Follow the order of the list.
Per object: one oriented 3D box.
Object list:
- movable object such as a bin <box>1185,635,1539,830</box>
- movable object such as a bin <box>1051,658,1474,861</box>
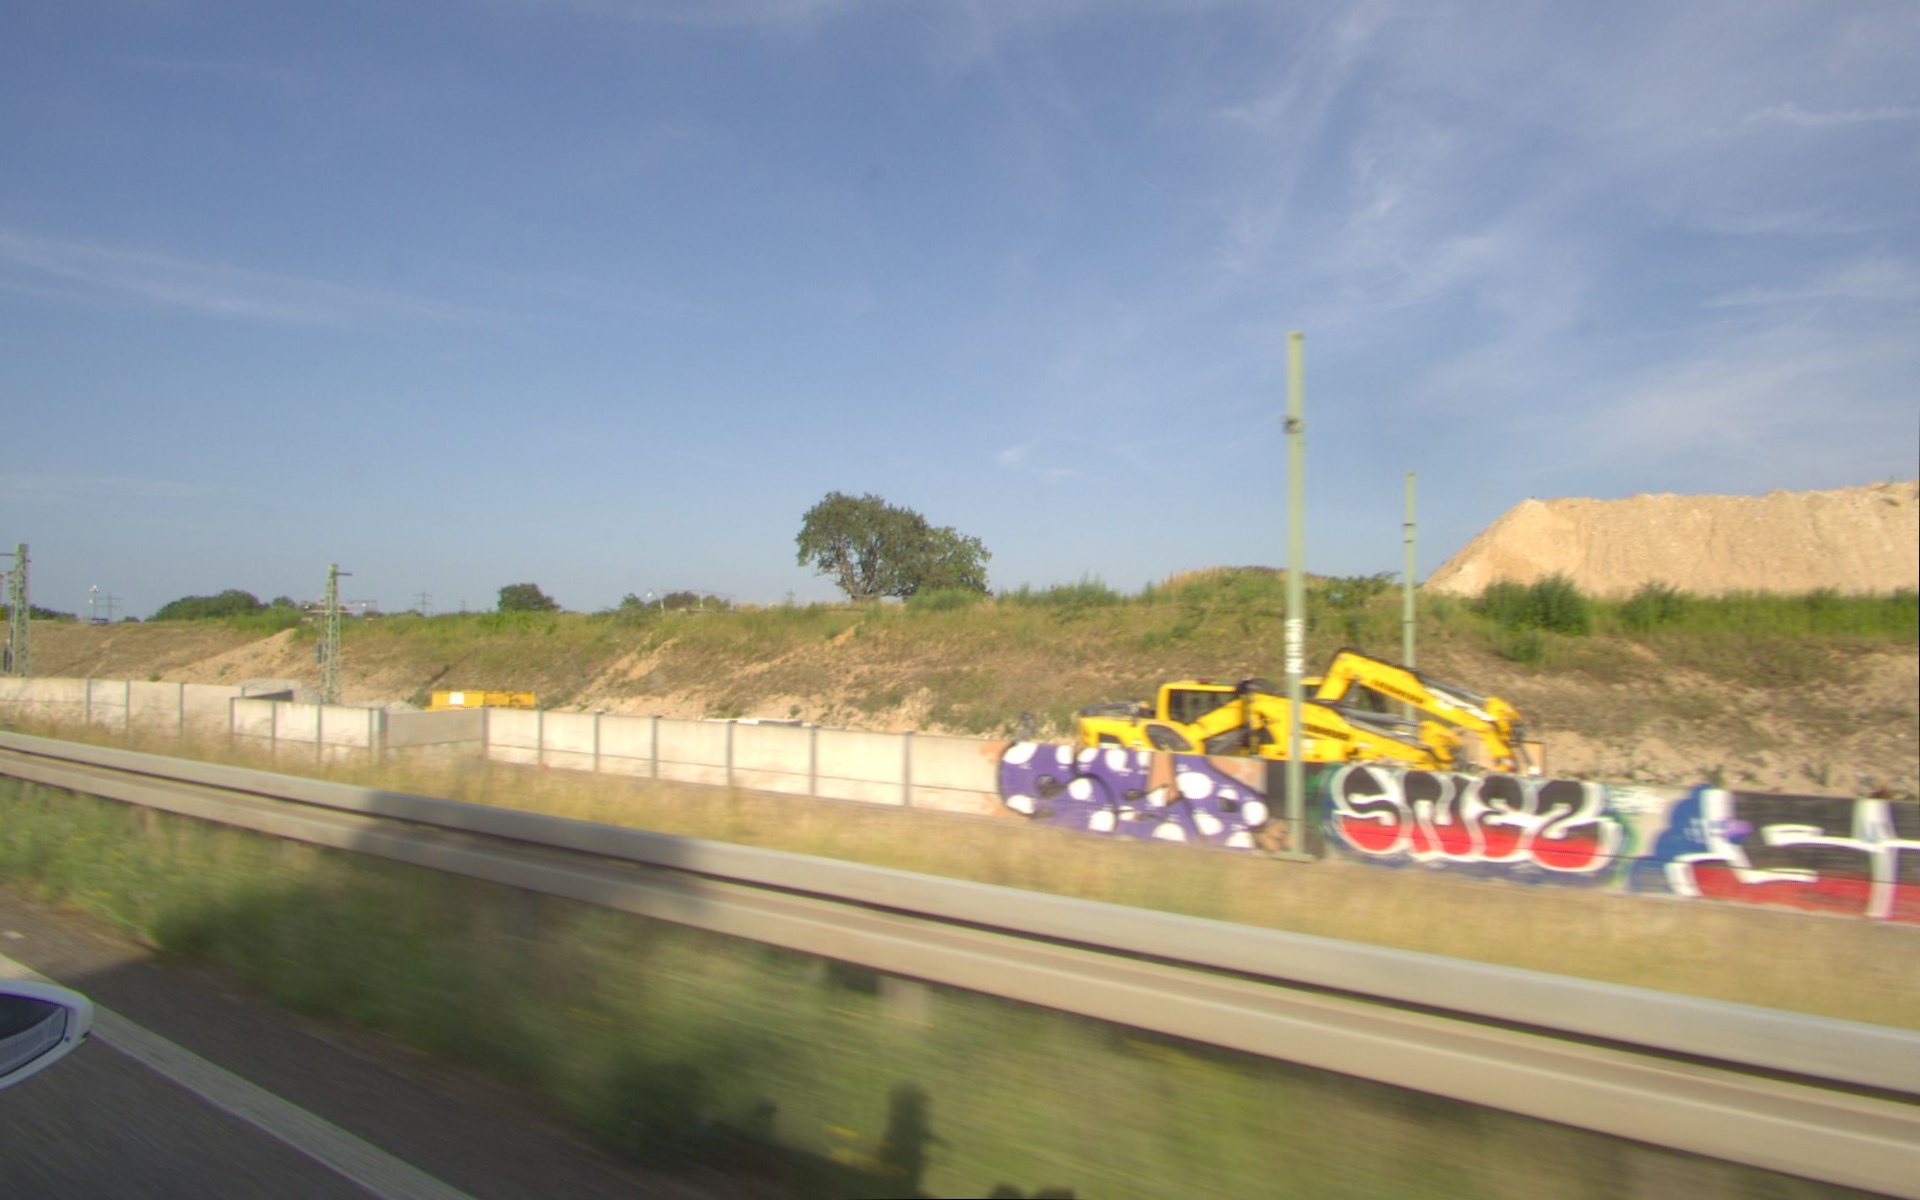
[{"bbox_3d":[9.396,2.821,23.750,7.430,3.936,2.792,-1,-1,32],"label":"movable object such as a bin"},{"bbox_3d":[6.011,2.948,20.605,7.957,3.281,2.617,-1,-1,32],"label":"movable object such as a bin"}]
